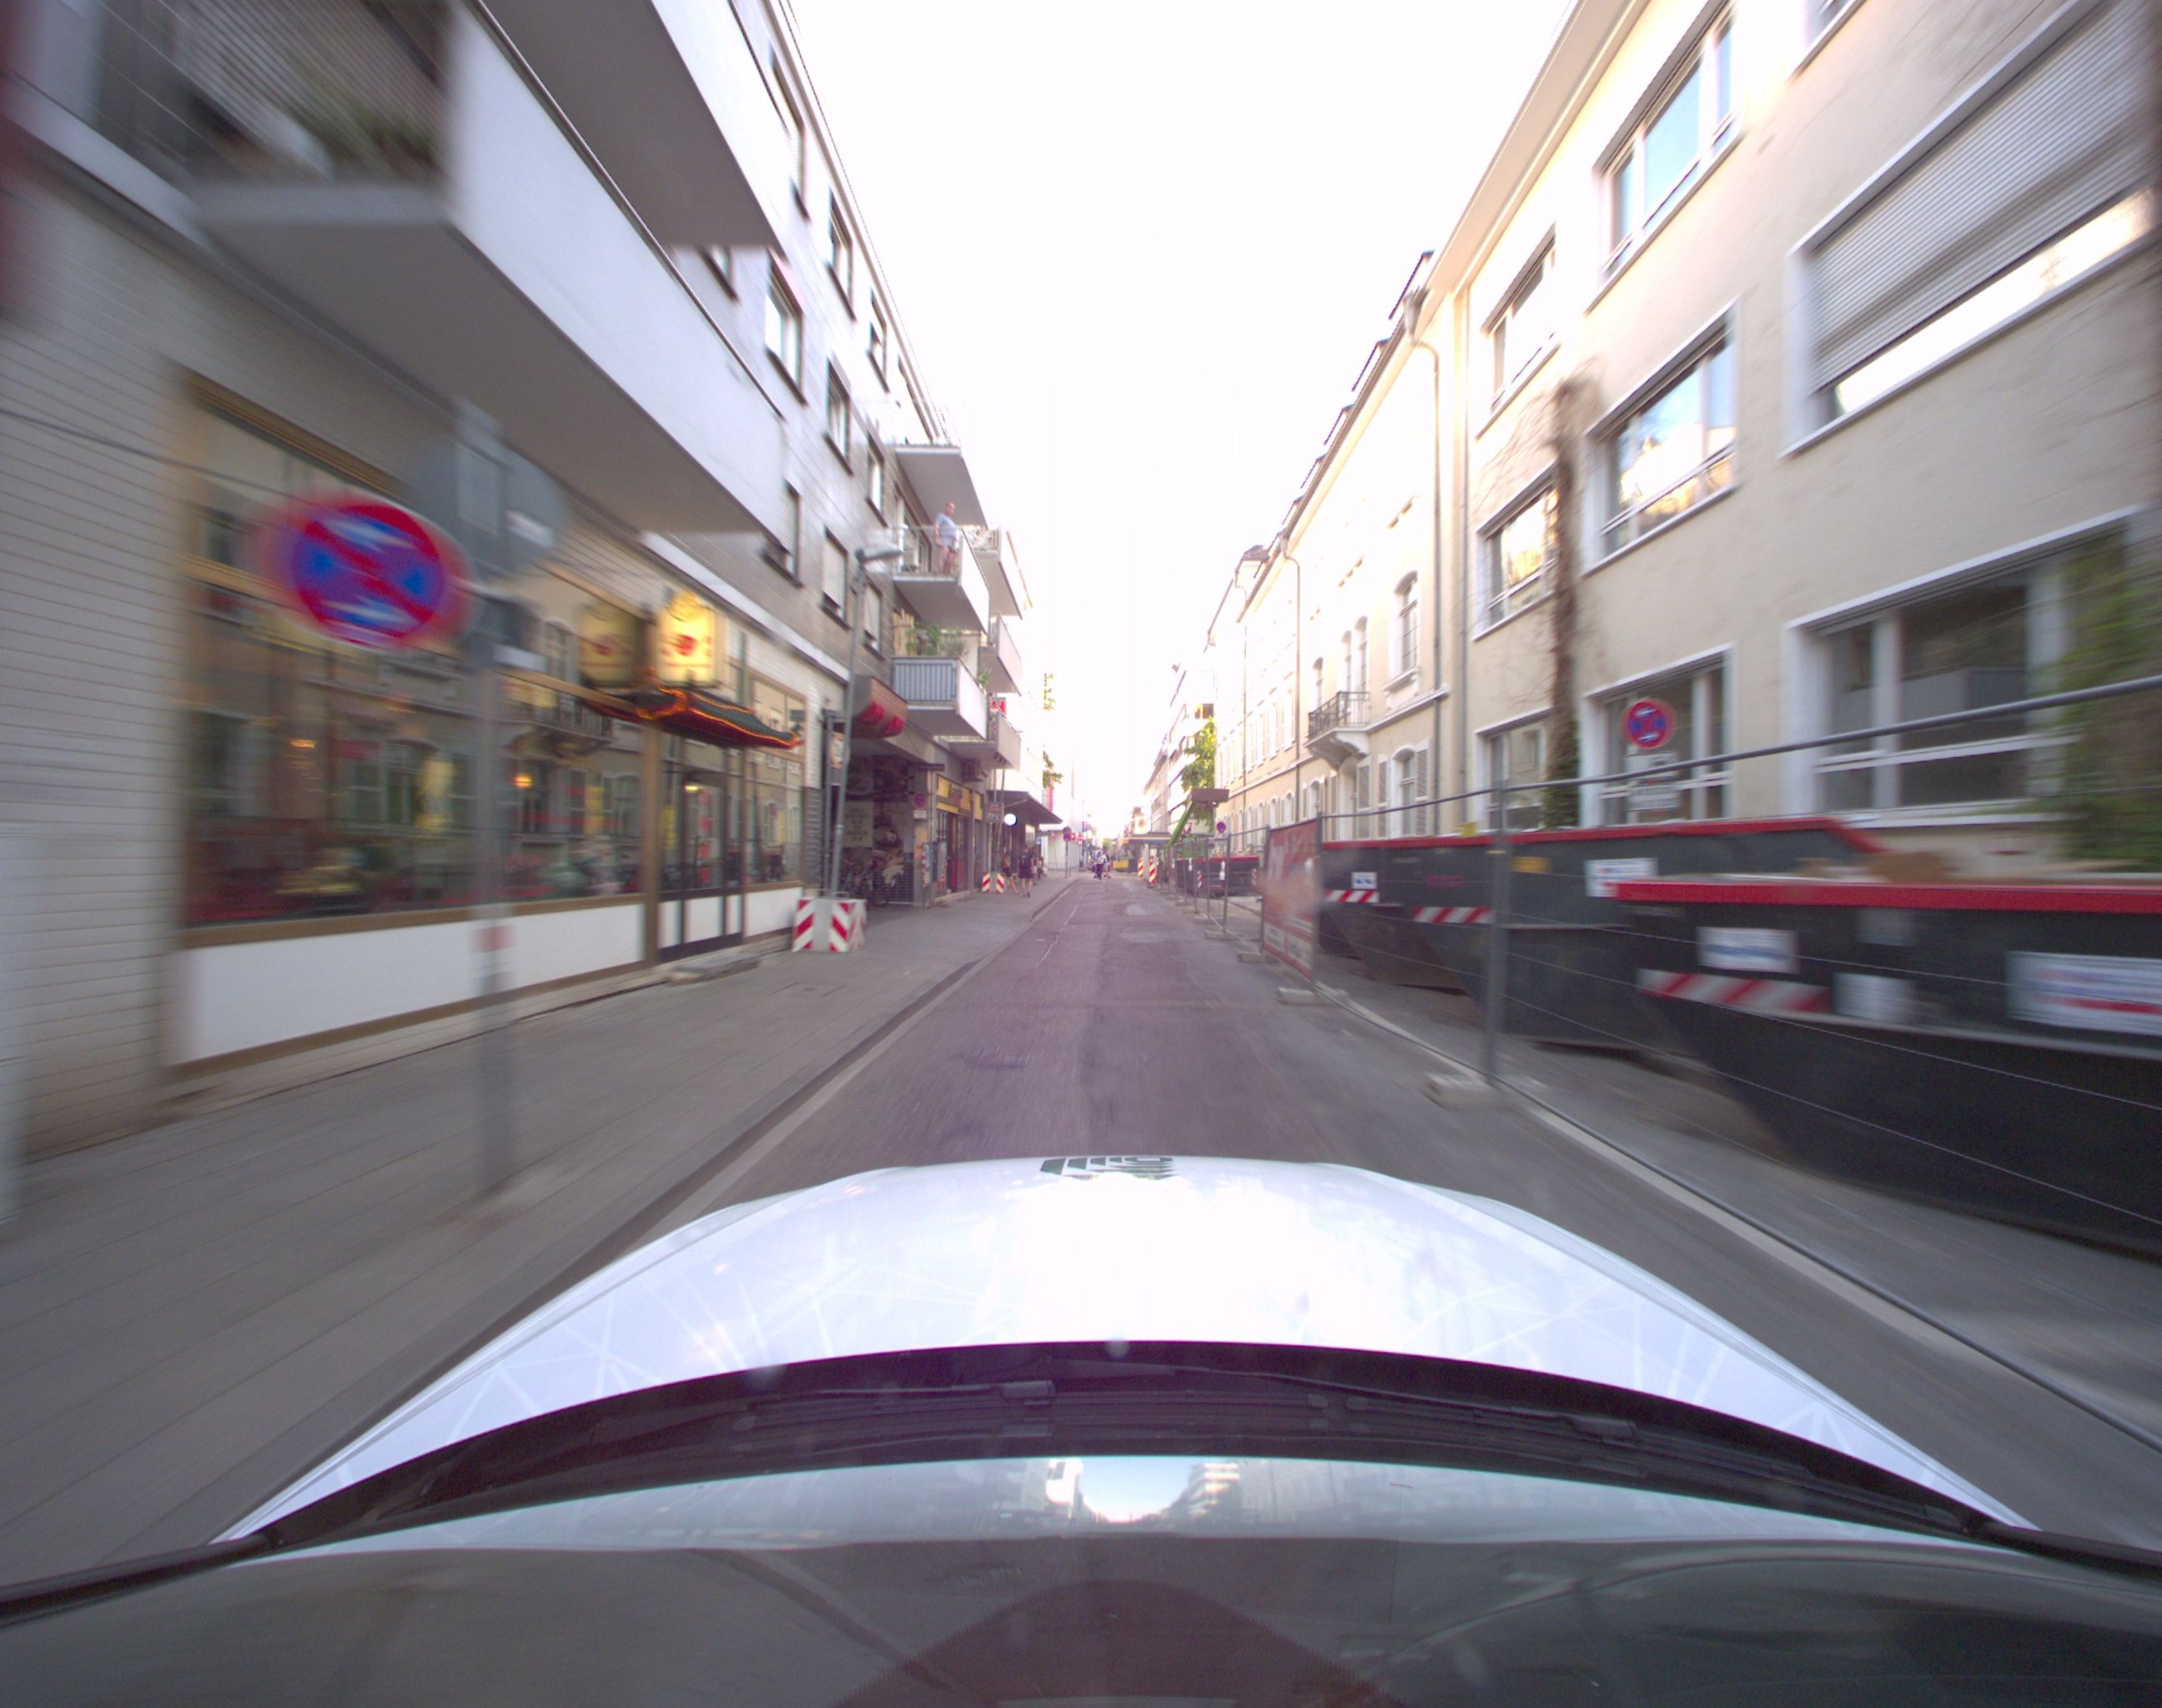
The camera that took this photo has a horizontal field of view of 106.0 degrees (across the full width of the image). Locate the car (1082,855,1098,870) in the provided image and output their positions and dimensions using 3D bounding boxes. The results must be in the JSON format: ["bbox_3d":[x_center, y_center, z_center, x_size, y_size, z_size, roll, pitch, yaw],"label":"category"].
[{"bbox_3d":[0.891,0.850,80.092,1.468,1.398,3.333,0,0,2],"label":"car"}]

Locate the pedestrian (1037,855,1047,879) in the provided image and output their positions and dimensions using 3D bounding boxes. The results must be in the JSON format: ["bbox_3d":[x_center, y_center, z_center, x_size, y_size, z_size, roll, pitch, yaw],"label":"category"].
[{"bbox_3d":[-2.300,0.759,47.714,0.540,1.387,0.625,0,0,2],"label":"pedestrian"}]

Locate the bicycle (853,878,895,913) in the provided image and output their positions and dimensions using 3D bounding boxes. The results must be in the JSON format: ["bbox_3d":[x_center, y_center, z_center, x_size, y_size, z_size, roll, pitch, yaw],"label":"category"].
[{"bbox_3d":[-5.127,1.015,20.268,0.520,0.761,1.748,0,0,2],"label":"bicycle"}]

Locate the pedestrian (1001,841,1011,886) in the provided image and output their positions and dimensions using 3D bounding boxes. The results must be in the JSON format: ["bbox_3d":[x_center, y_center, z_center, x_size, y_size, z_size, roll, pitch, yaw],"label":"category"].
[{"bbox_3d":[-3.371,0.426,36.540,0.409,2.014,0.453,0,0,-1],"label":"pedestrian"}]

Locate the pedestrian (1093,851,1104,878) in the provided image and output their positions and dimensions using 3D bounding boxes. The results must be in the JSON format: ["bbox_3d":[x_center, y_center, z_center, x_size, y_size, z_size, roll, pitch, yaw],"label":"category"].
[{"bbox_3d":[1.177,0.683,55.155,0.646,1.809,0.628,0,0,-15],"label":"pedestrian"}]

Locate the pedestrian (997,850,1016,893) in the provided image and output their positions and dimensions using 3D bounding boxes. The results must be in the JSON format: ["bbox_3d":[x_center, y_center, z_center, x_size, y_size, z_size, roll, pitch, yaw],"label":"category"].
[{"bbox_3d":[-2.758,0.648,30.127,0.646,1.565,0.628,0,0,-13],"label":"pedestrian"}]

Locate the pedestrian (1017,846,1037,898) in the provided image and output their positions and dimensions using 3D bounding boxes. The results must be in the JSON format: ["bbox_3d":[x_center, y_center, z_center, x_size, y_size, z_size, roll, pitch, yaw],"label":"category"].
[{"bbox_3d":[-1.887,0.612,28.677,0.626,1.808,0.648,0,0,3],"label":"pedestrian"}]

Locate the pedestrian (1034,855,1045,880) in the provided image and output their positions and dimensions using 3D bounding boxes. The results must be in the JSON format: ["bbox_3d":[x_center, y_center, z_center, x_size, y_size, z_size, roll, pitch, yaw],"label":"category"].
[{"bbox_3d":[-2.367,0.781,46.695,0.556,1.390,0.893,1,1,2],"label":"pedestrian"}]

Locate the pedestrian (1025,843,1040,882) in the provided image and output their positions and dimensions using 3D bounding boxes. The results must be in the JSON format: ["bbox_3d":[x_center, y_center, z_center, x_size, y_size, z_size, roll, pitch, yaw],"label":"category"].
[{"bbox_3d":[-2.319,0.405,38.972,0.653,1.886,0.573,0,0,-7],"label":"pedestrian"}]

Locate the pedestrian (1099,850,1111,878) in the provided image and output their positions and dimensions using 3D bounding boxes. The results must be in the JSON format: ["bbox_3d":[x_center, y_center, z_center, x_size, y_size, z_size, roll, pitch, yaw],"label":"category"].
[{"bbox_3d":[1.625,0.670,54.176,0.646,1.809,0.628,0,0,-15],"label":"pedestrian"}]

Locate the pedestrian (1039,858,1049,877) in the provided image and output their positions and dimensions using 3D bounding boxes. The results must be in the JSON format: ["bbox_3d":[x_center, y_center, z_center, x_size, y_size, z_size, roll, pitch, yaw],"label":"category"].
[{"bbox_3d":[-2.288,0.856,50.515,0.616,1.172,0.788,0,0,1],"label":"pedestrian"}]

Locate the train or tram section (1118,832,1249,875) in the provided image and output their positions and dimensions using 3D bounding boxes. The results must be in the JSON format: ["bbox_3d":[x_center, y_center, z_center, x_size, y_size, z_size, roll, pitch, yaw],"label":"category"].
[{"bbox_3d":[8.292,-0.035,66.893,10.449,3.459,3.000,0,0,1],"label":"train or tram section"}]

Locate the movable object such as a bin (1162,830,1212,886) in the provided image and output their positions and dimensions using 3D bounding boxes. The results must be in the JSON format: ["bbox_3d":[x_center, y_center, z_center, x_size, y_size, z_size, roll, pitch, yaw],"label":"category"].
[{"bbox_3d":[6.258,0.217,48.565,2.461,3.130,4.299,1,1,2],"label":"movable object such as a bin"}]

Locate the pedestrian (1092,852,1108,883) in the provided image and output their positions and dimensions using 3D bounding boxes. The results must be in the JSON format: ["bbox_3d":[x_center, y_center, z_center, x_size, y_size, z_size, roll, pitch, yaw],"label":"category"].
[{"bbox_3d":[1.081,0.766,46.563,0.713,1.740,0.651,0,-1,22],"label":"pedestrian"}]

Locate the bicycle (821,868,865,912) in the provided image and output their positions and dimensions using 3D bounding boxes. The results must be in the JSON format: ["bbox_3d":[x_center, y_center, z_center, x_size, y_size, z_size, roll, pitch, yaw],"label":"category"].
[{"bbox_3d":[-5.895,0.874,20.249,0.520,1.010,1.748,0,0,2],"label":"bicycle"}]

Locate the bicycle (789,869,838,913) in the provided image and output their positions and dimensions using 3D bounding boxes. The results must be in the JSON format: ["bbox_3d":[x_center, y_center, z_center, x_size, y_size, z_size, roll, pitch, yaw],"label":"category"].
[{"bbox_3d":[-6.593,0.897,20.135,0.520,1.010,1.859,0,0,2],"label":"bicycle"}]
